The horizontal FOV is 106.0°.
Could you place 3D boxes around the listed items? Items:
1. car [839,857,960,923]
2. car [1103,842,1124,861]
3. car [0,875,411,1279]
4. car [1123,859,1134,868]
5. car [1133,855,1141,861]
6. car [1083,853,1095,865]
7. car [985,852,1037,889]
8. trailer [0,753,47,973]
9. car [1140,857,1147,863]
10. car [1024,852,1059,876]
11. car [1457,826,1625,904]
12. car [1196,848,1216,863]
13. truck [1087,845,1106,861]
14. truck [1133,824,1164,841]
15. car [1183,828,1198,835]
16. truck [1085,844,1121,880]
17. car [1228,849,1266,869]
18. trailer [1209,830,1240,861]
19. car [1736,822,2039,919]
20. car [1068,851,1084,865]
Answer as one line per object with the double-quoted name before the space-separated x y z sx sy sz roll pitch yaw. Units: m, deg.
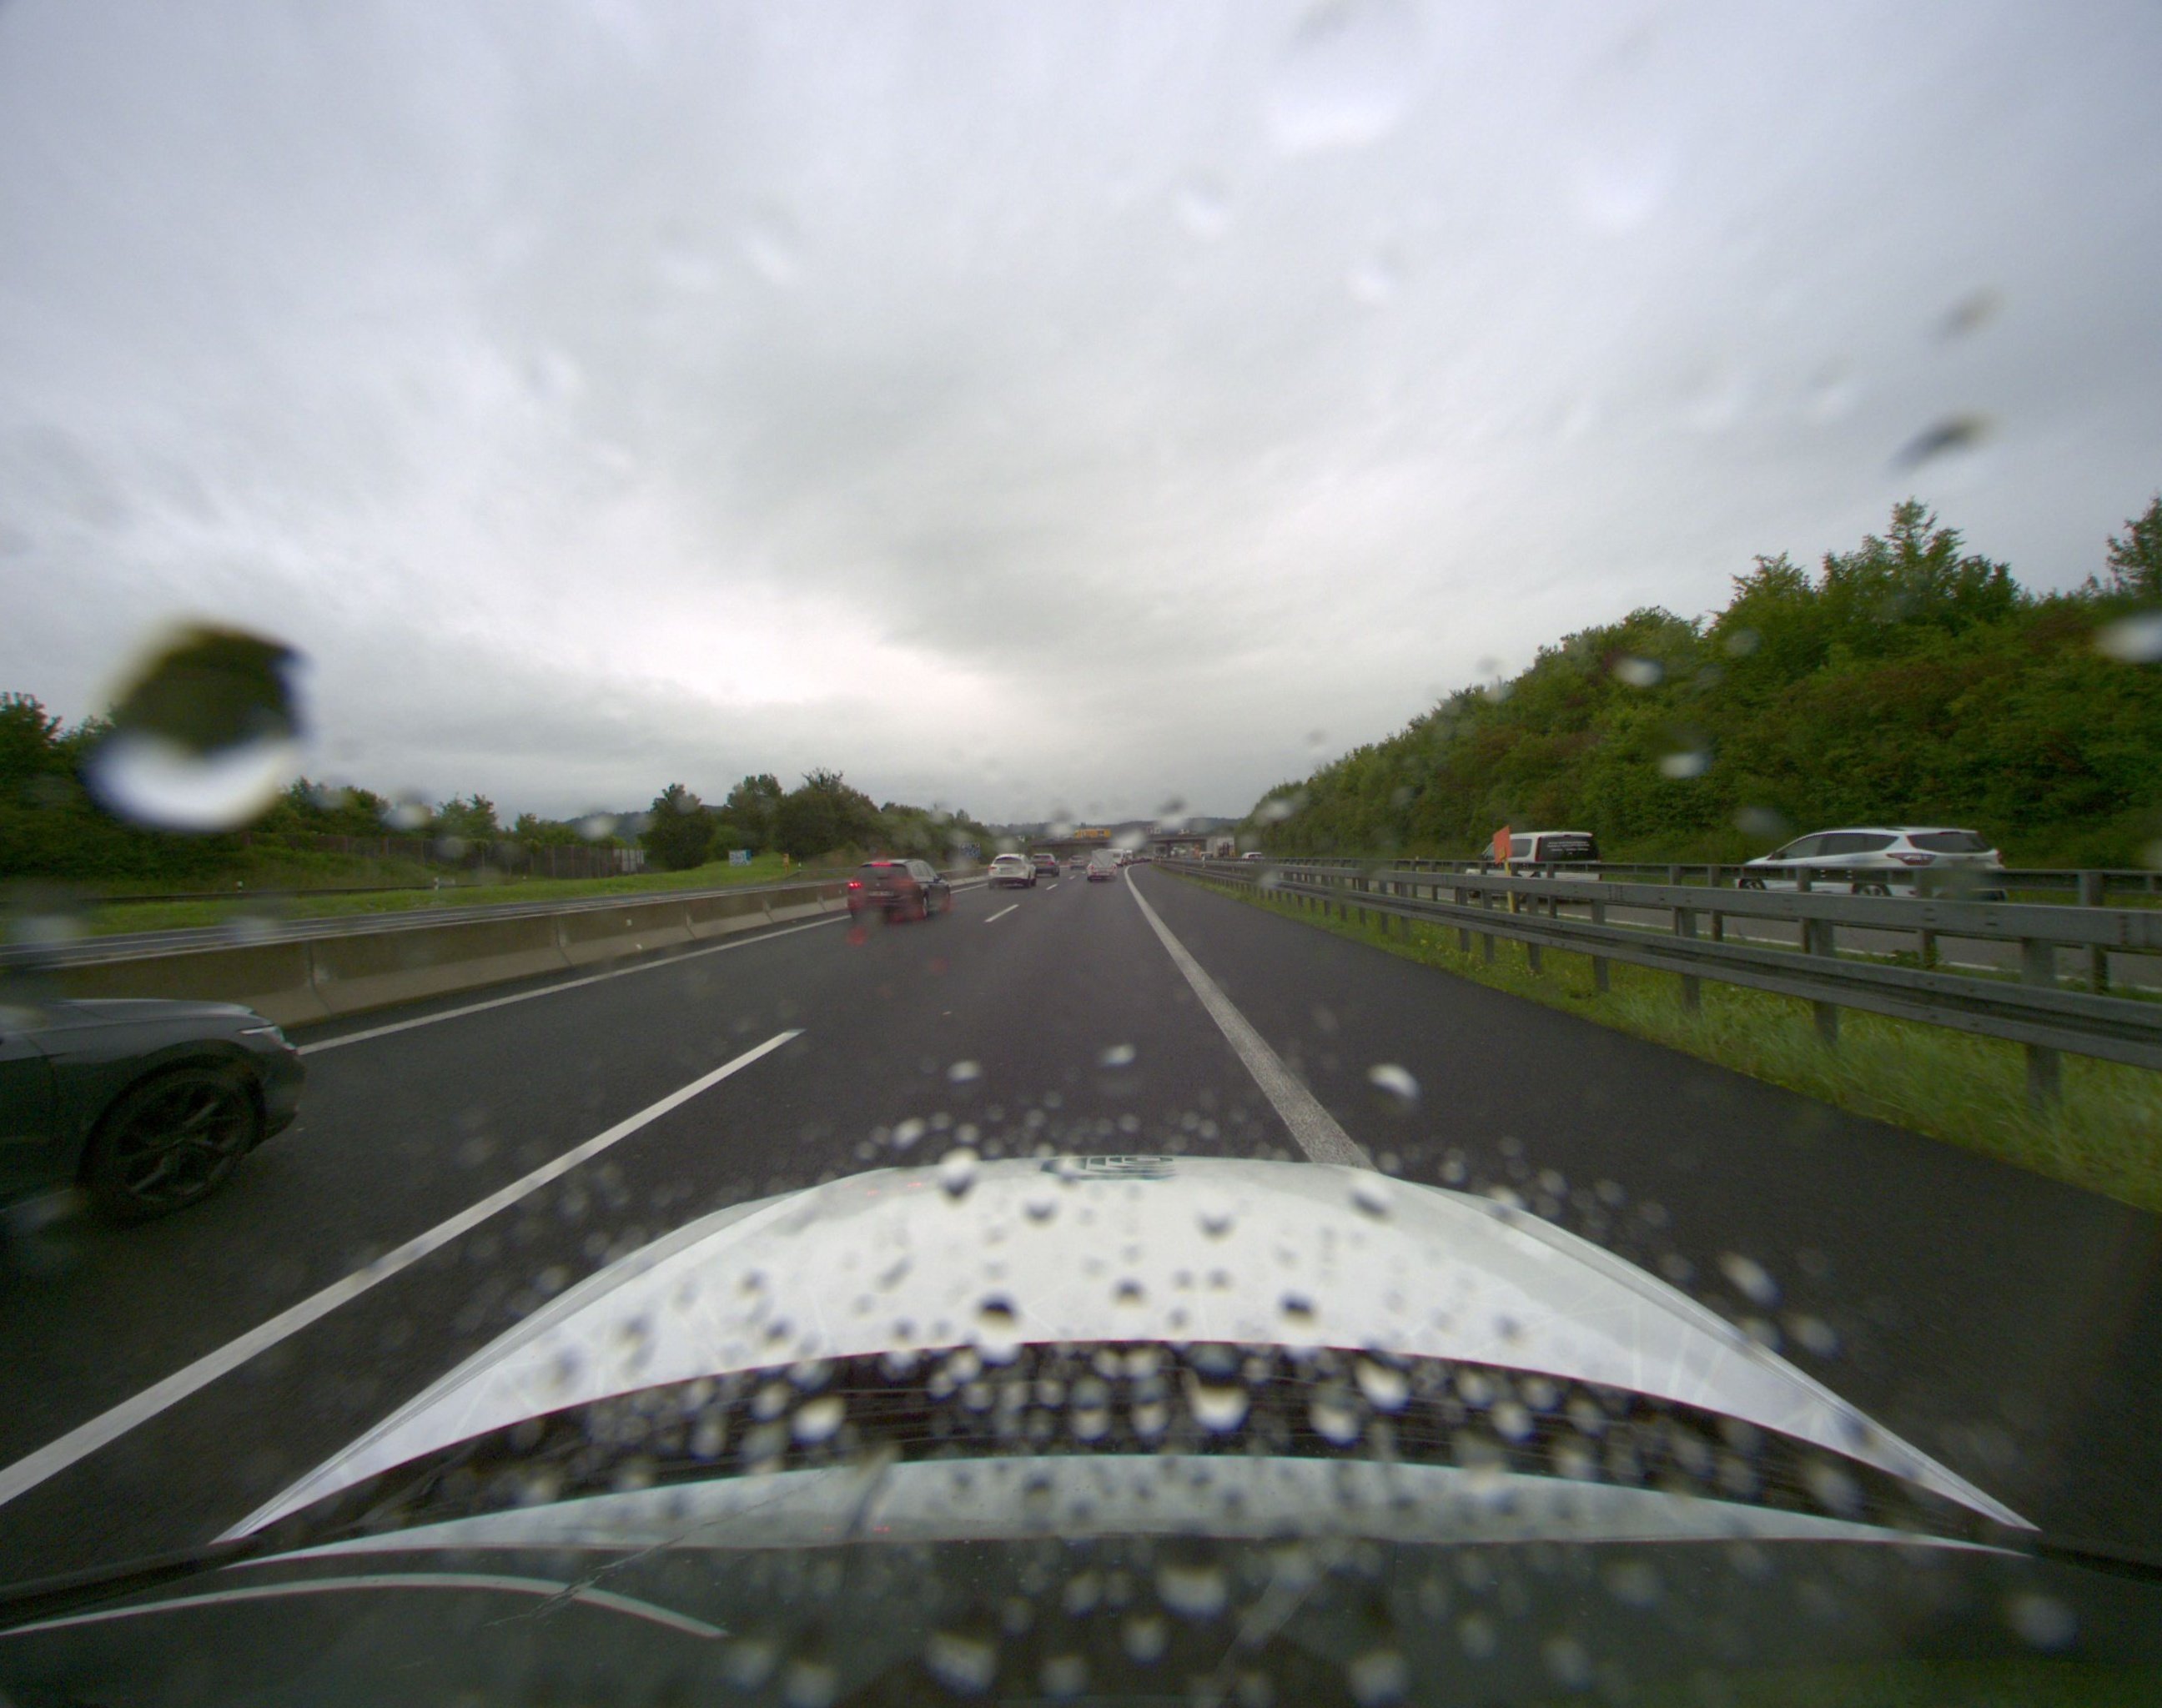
"car" -4.545 0.847 21.177 1.893 1.497 4.853 -1 0 1
"car" 4.802 -0.427 119.713 3.004 2.616 6.080 -1 0 3
"car" -4.882 0.855 2.454 1.893 1.405 4.461 -1 0 2
"car" 9.819 1.958 167.530 1.988 1.750 3.998 0 0 -1
"car" 14.604 1.067 212.979 1.985 1.750 4.003 0 0 3
"car" 1.270 0.780 131.151 1.836 1.819 4.000 -1 0 0
"car" -3.328 0.749 39.589 1.968 1.639 4.503 -1 0 2
"trailer" -18.483 0.136 7.483 2.749 3.398 11.461 0 0 4
"car" 18.502 1.781 240.372 1.985 1.750 4.004 0 0 4
"car" -2.847 0.698 60.042 2.166 1.631 4.502 -1 0 2
"car" 11.978 0.259 21.588 2.002 1.815 4.275 -1 0 0
"car" 15.655 0.147 102.264 1.853 1.805 4.648 -1 0 0
"truck" 3.791 -0.223 199.797 3.749 3.554 13.203 -1 0 5
"truck" 20.499 -6.492 246.597 3.795 4.836 9.933 -1 0 -36
"car" 30.941 -6.441 230.093 1.851 1.915 3.955 0 0 -37
"truck" 1.267 0.444 50.042 2.012 1.985 7.213 -1 0 0
"car" 13.551 0.372 66.660 2.002 1.548 4.693 -1 0 -1
"trailer" 20.581 -1.183 117.393 3.421 4.289 10.466 -1 0 4
"car" 15.393 0.282 15.937 1.889 1.612 4.147 -1 0 1
"car" -0.584 0.450 97.666 1.894 1.613 4.017 -1 0 0
